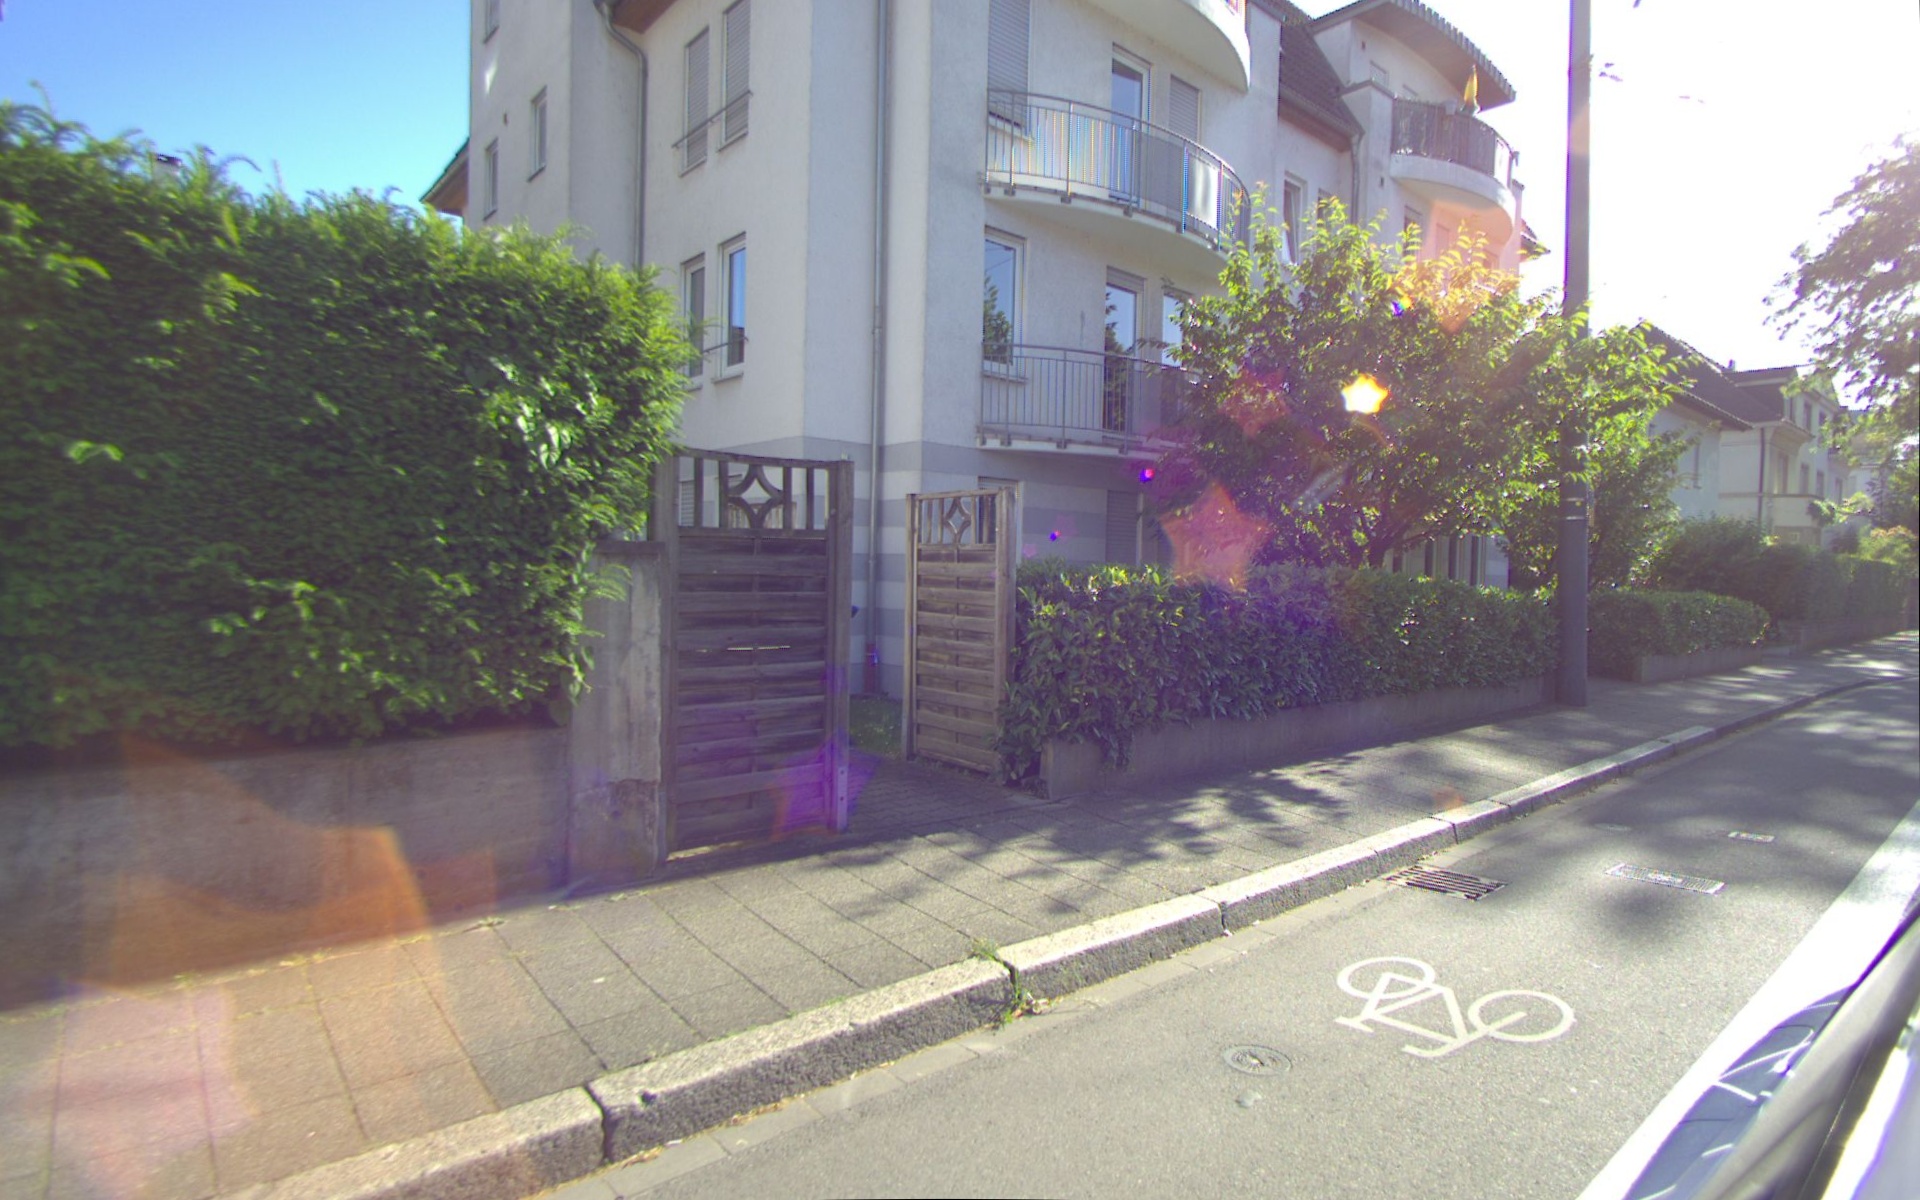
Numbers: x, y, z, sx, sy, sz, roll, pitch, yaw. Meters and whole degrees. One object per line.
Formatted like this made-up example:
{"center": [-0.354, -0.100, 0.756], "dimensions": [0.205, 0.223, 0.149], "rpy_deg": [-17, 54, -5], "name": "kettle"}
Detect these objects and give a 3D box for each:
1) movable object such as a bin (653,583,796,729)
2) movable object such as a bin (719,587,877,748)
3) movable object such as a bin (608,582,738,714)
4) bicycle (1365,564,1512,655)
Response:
{"center": [-1.953, 0.420, 8.366], "dimensions": [0.799, 1.097, 0.973], "rpy_deg": [-1, 2, -41], "name": "movable object such as a bin"}
{"center": [-1.238, 0.459, 7.670], "dimensions": [0.799, 1.097, 0.973], "rpy_deg": [-1, 2, -41], "name": "movable object such as a bin"}
{"center": [-2.594, 0.391, 9.117], "dimensions": [0.799, 1.097, 0.973], "rpy_deg": [-1, 2, -41], "name": "movable object such as a bin"}
{"center": [7.491, 0.114, 15.904], "dimensions": [0.811, 1.217, 1.845], "rpy_deg": [-1, 6, -41], "name": "bicycle"}
